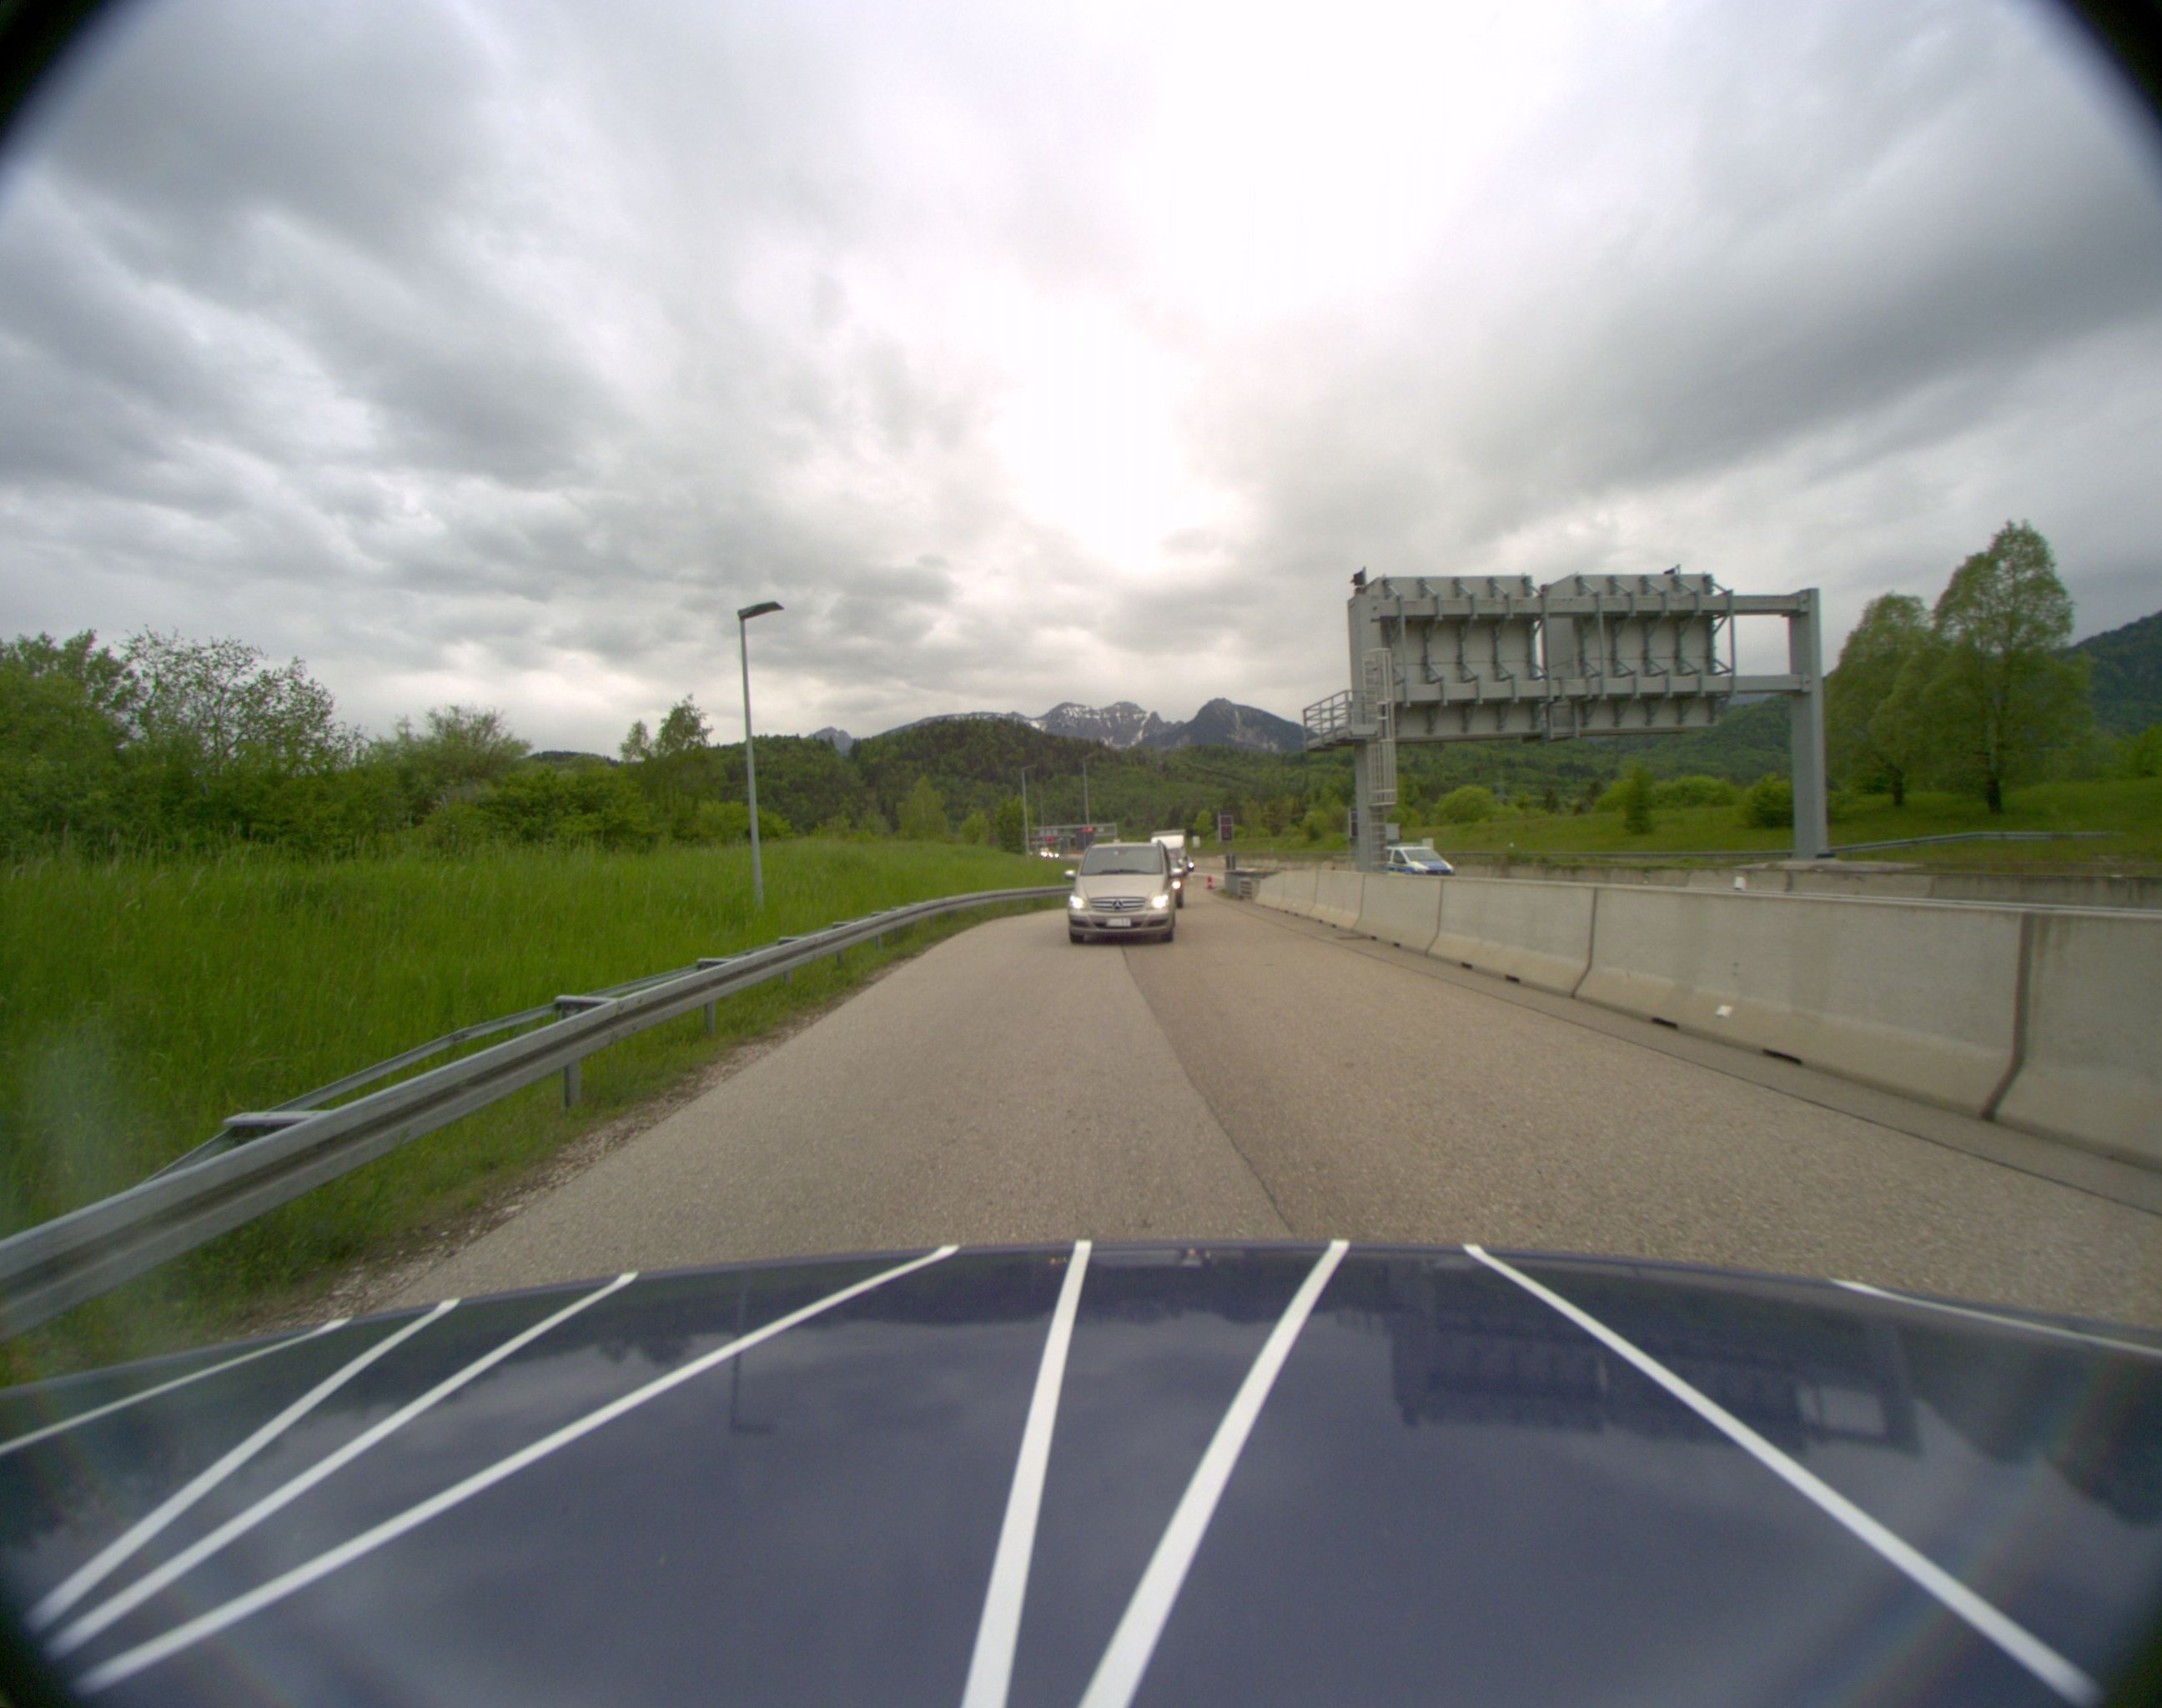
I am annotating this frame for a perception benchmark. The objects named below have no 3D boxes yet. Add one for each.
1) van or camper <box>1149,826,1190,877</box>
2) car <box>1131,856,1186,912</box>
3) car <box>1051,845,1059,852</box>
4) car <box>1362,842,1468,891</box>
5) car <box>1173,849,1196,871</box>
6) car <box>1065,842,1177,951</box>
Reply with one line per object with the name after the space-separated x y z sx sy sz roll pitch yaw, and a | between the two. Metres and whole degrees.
6.381 -0.192 53.770 2.580 3.372 7.360 -1 0 8 | van or camper
2.602 0.924 24.844 1.590 1.662 4.003 -1 0 8 | car
-7.335 -1.503 214.620 1.703 1.712 3.998 -2 0 -6 | car
14.894 0.508 34.252 2.105 2.002 5.049 -1 0 -6 | car
8.822 0.494 64.796 1.741 1.754 4.001 -4 0 6 | car
1.016 0.696 15.635 1.861 1.833 5.620 0 0 7 | car
